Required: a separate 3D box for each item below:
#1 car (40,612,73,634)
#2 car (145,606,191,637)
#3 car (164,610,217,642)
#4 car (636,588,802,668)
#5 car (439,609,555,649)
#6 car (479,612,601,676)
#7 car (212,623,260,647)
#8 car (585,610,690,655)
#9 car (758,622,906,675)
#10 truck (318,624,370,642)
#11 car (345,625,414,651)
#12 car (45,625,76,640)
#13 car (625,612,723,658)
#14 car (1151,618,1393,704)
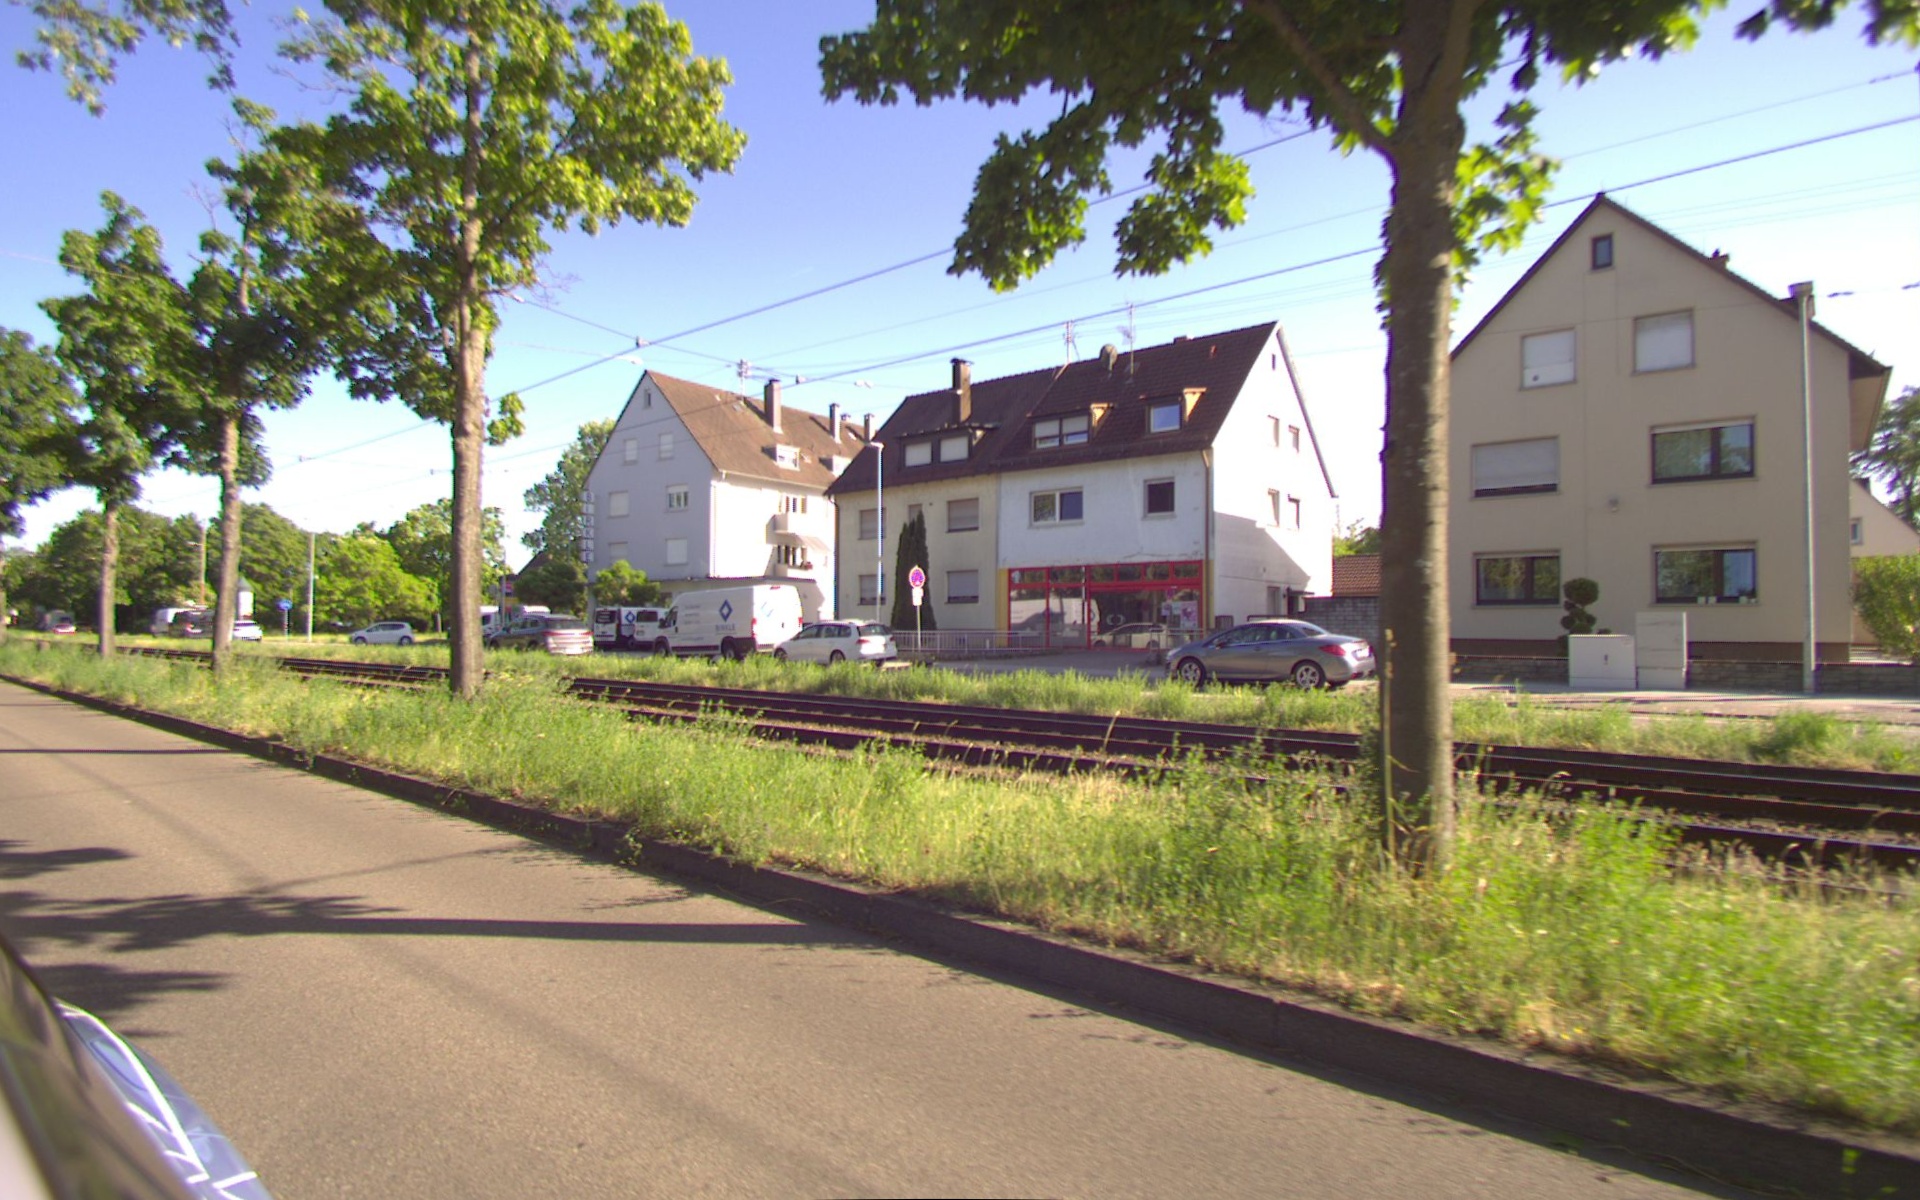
[{"bbox_3d":[-111.248,2.892,124.588,6.795,2.600,2.202,-2,-1,41],"label":"car"},{"bbox_3d":[-67.982,1.829,86.831,6.133,2.515,1.981,-1,0,41],"label":"car"},{"bbox_3d":[-61.751,2.049,81.195,6.462,2.394,2.160,-1,0,41],"label":"car"},{"bbox_3d":[-8.319,0.888,34.496,6.670,2.478,1.973,-1,0,41],"label":"car"},{"bbox_3d":[-31.327,1.889,68.744,2.326,2.526,7.002,-1,-1,36],"label":"car"},{"bbox_3d":[-13.636,1.360,32.725,4.523,1.897,1.895,-1,0,42],"label":"car"},{"bbox_3d":[-52.038,2.481,72.743,4.772,1.619,1.804,-1,0,42],"label":"car"},{"bbox_3d":[-14.984,1.465,47.265,1.992,1.960,4.585,-1,-1,30],"label":"car"},{"bbox_3d":[-3.932,1.402,30.691,4.655,1.423,1.806,-1,0,41],"label":"car"},{"bbox_3d":[-71.912,3.811,118.228,2.069,1.883,4.907,-1,0,21],"label":"truck"},{"bbox_3d":[-35.237,2.286,61.446,3.564,1.489,1.755,1,-2,-32],"label":"car"},{"bbox_3d":[-85.347,3.096,96.007,3.998,1.420,1.659,-1,-2,41],"label":"car"},{"bbox_3d":[-12.908,1.527,45.885,1.992,1.967,4.108,-1,-1,30],"label":"car"},{"bbox_3d":[6.560,1.232,21.569,4.496,1.593,1.972,-2,-1,42],"label":"car"}]
